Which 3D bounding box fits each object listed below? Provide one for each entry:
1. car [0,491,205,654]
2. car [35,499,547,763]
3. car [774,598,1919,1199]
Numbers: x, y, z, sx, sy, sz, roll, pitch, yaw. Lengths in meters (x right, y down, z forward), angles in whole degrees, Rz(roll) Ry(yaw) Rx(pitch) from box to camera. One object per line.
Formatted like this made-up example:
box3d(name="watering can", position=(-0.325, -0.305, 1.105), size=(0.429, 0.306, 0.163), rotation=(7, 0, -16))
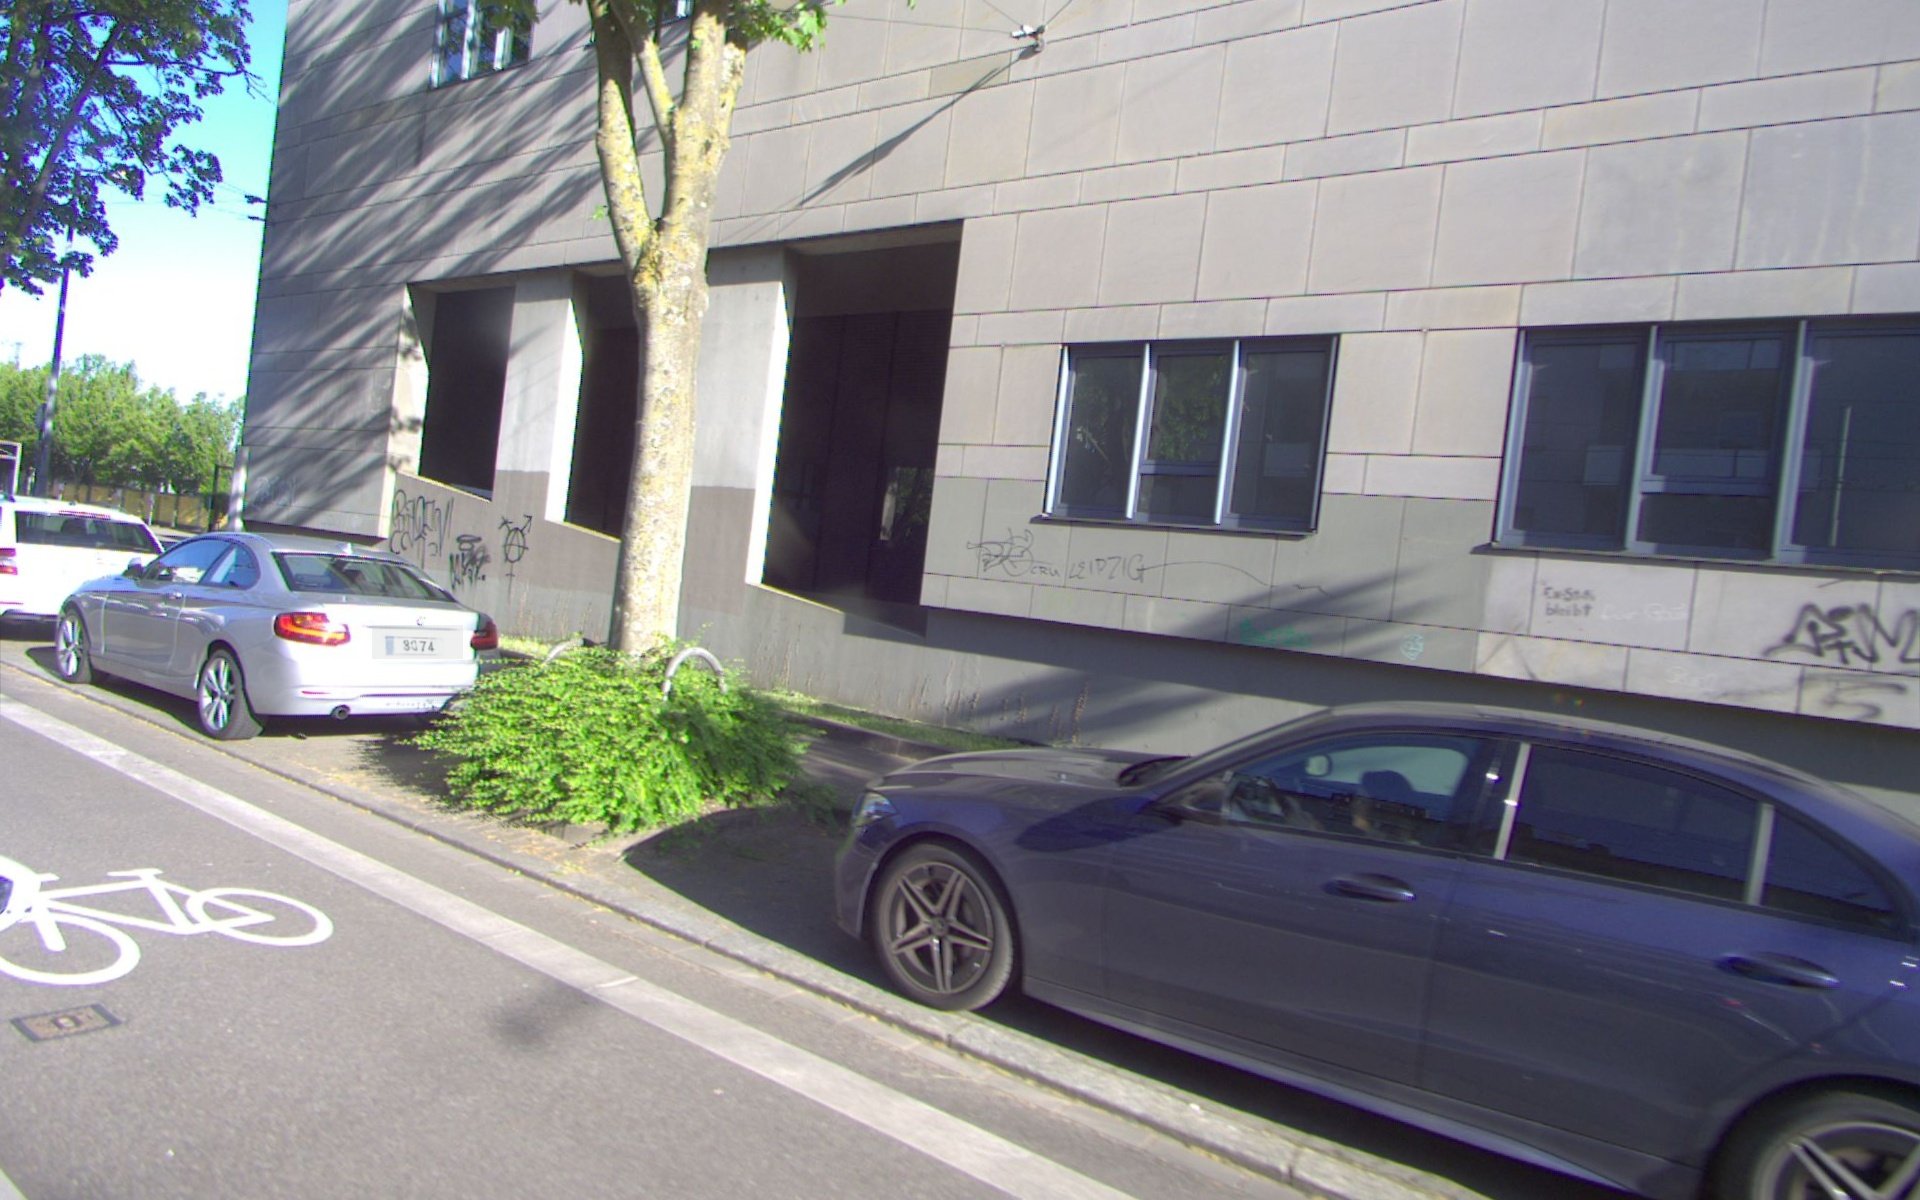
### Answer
box3d(name="car", position=(-10.510, -0.442, 11.201), size=(4.542, 1.476, 1.748), rotation=(7, 0, 32))
box3d(name="car", position=(-5.532, 0.156, 8.204), size=(4.087, 1.482, 1.824), rotation=(7, 0, 31))
box3d(name="car", position=(1.704, 1.032, 3.911), size=(4.563, 1.508, 1.842), rotation=(7, 0, 30))
